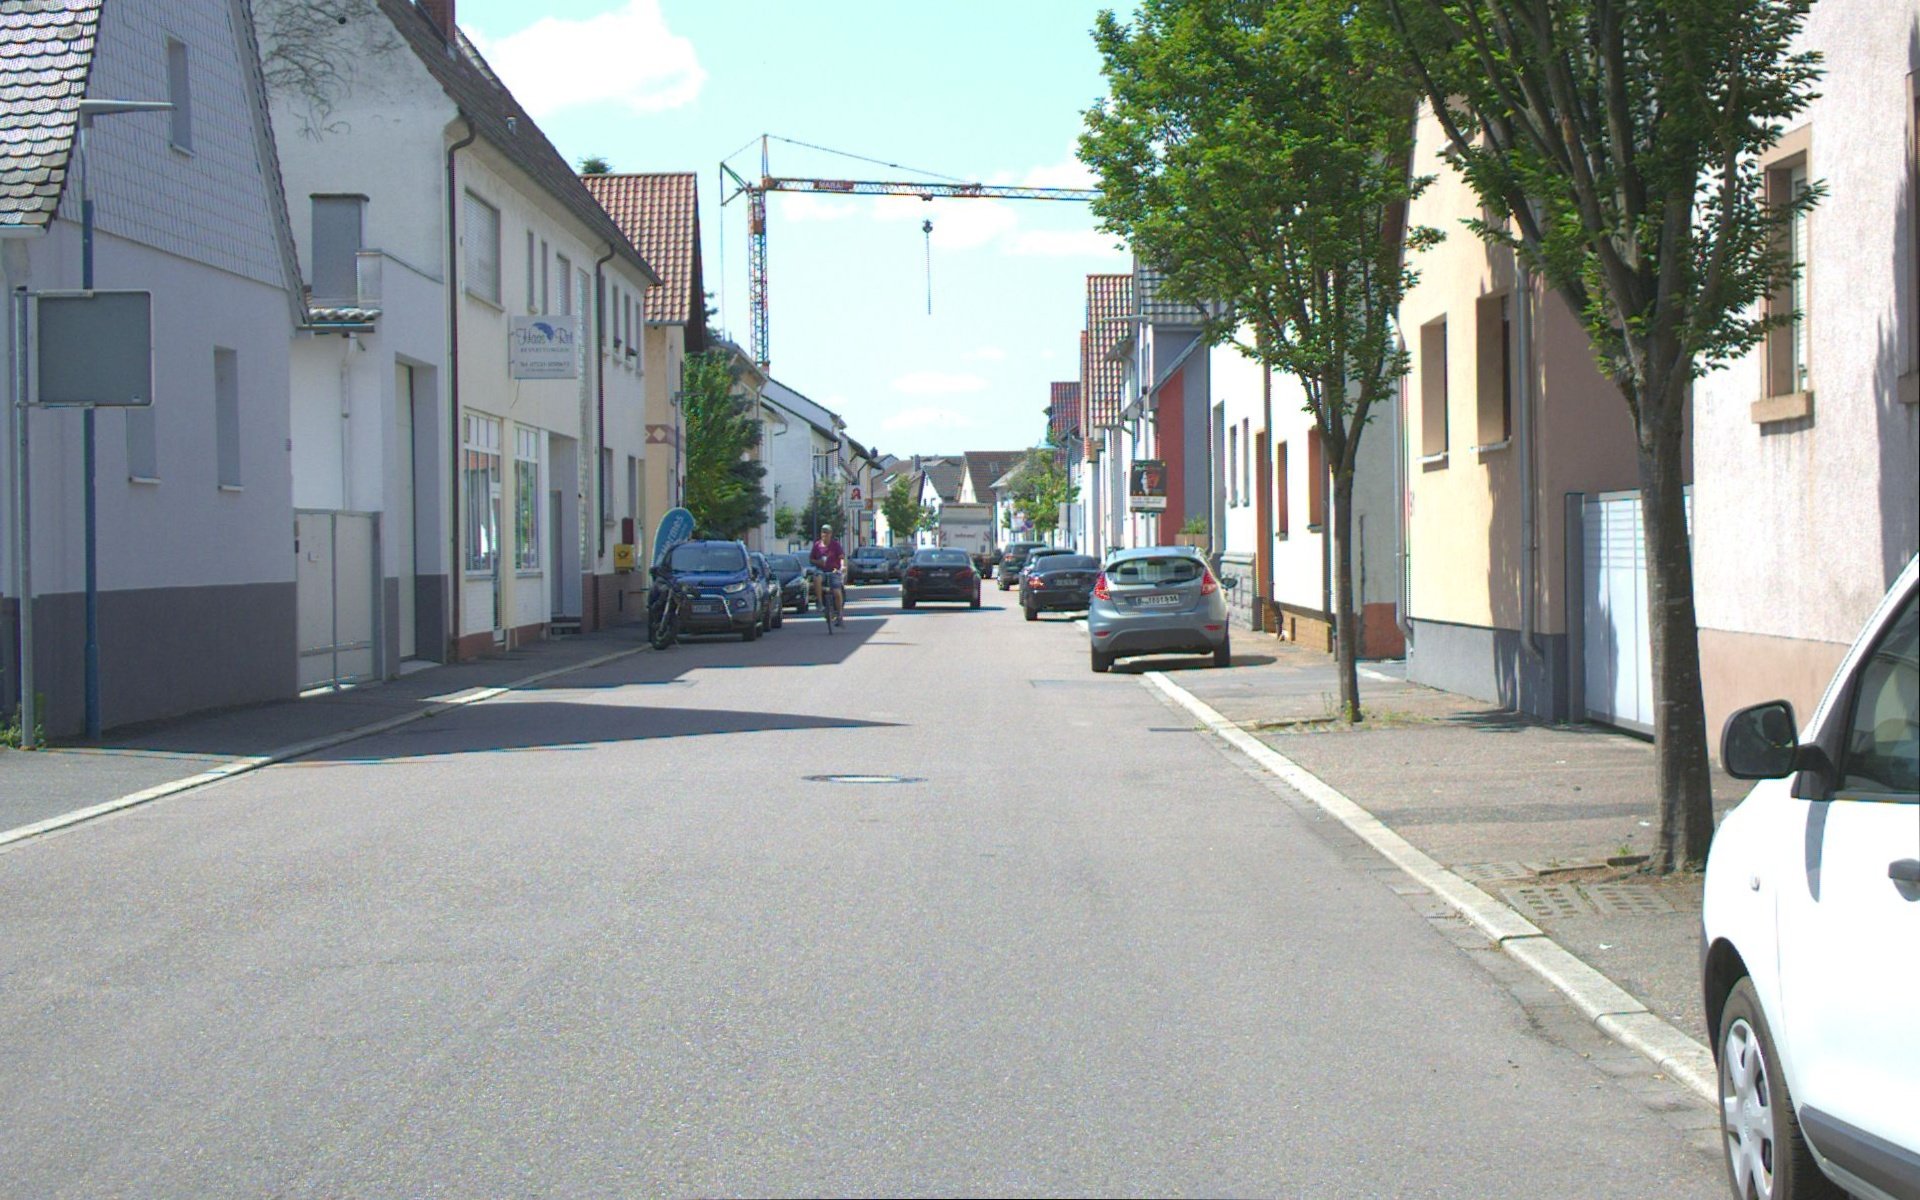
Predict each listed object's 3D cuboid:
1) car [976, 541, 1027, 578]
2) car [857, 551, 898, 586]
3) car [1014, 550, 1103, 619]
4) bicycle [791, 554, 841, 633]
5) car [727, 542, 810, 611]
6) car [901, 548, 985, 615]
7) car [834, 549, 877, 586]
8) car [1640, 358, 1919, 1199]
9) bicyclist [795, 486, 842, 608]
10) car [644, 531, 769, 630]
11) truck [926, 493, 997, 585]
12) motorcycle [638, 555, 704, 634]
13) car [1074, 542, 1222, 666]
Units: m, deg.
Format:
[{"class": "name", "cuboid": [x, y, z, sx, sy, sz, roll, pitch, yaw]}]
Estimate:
[{"class": "car", "cuboid": [1.432, -1.422, 119.758, 1.719, 1.264, 4.157, 0, 1, 0]}, {"class": "car", "cuboid": [-3.794, -1.479, 158.482, 1.809, 1.583, 4.000, 0, 1, -1]}, {"class": "car", "cuboid": [1.996, -0.338, 70.732, 1.719, 1.350, 4.157, 0, 1, 0]}, {"class": "bicycle", "cuboid": [-2.453, -0.125, 58.978, 0.751, 1.303, 2.685, 1, 0, -1]}, {"class": "car", "cuboid": [-4.521, -0.576, 81.665, 1.809, 1.583, 4.000, 0, 1, -1]}, {"class": "car", "cuboid": [-0.381, -0.471, 82.830, 1.902, 1.558, 4.476, 0, 1, 1]}, {"class": "car", "cuboid": [-4.612, -1.436, 151.879, 1.809, 1.583, 4.000, 0, 1, 0]}, {"class": "car", "cuboid": [2.483, 0.459, 5.727, 1.719, 1.784, 4.144, -2, 1, -2]}, {"class": "bicyclist", "cuboid": [-2.436, -0.907, 59.056, 0.740, 2.052, 0.844, 1, 0, -1]}, {"class": "car", "cuboid": [-4.149, -0.345, 56.728, 1.809, 1.583, 4.000, 0, 1, -1]}, {"class": "truck", "cuboid": [0.124, -2.894, 165.805, 3.145, 4.236, 9.302, 1, 0, 1]}, {"class": "motorcycle", "cuboid": [-4.448, -0.097, 53.004, 0.846, 1.166, 2.469, 1, 0, -1]}, {"class": "car", "cuboid": [2.282, 0.009, 42.488, 1.719, 1.456, 4.156, 0, 1, 2]}]
